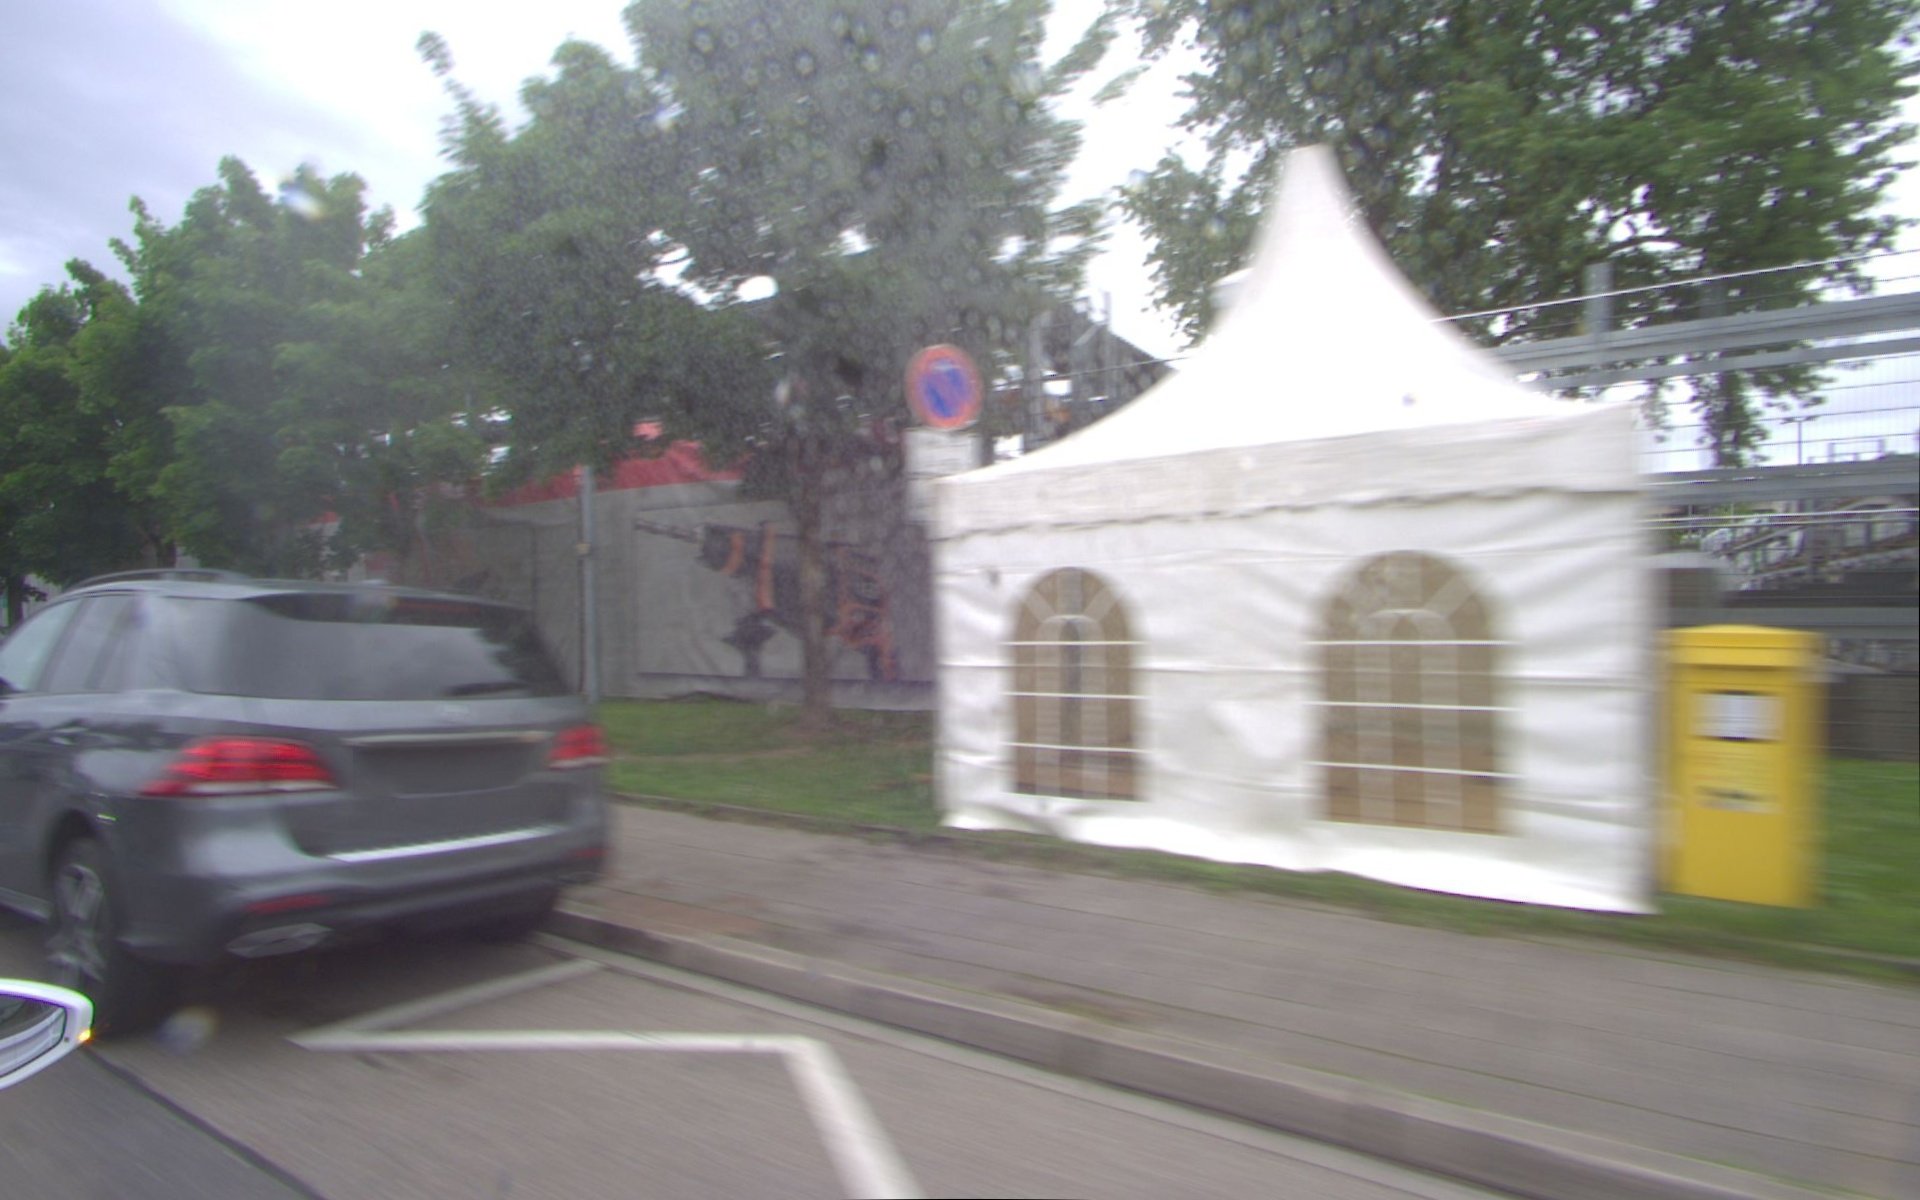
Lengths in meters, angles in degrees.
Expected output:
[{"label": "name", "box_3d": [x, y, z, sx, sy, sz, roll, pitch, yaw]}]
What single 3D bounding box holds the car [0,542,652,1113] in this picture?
[{"label": "car", "box_3d": [-3.826, 0.790, 5.151, 4.418, 1.762, 1.905, -1, -4, 34]}]
